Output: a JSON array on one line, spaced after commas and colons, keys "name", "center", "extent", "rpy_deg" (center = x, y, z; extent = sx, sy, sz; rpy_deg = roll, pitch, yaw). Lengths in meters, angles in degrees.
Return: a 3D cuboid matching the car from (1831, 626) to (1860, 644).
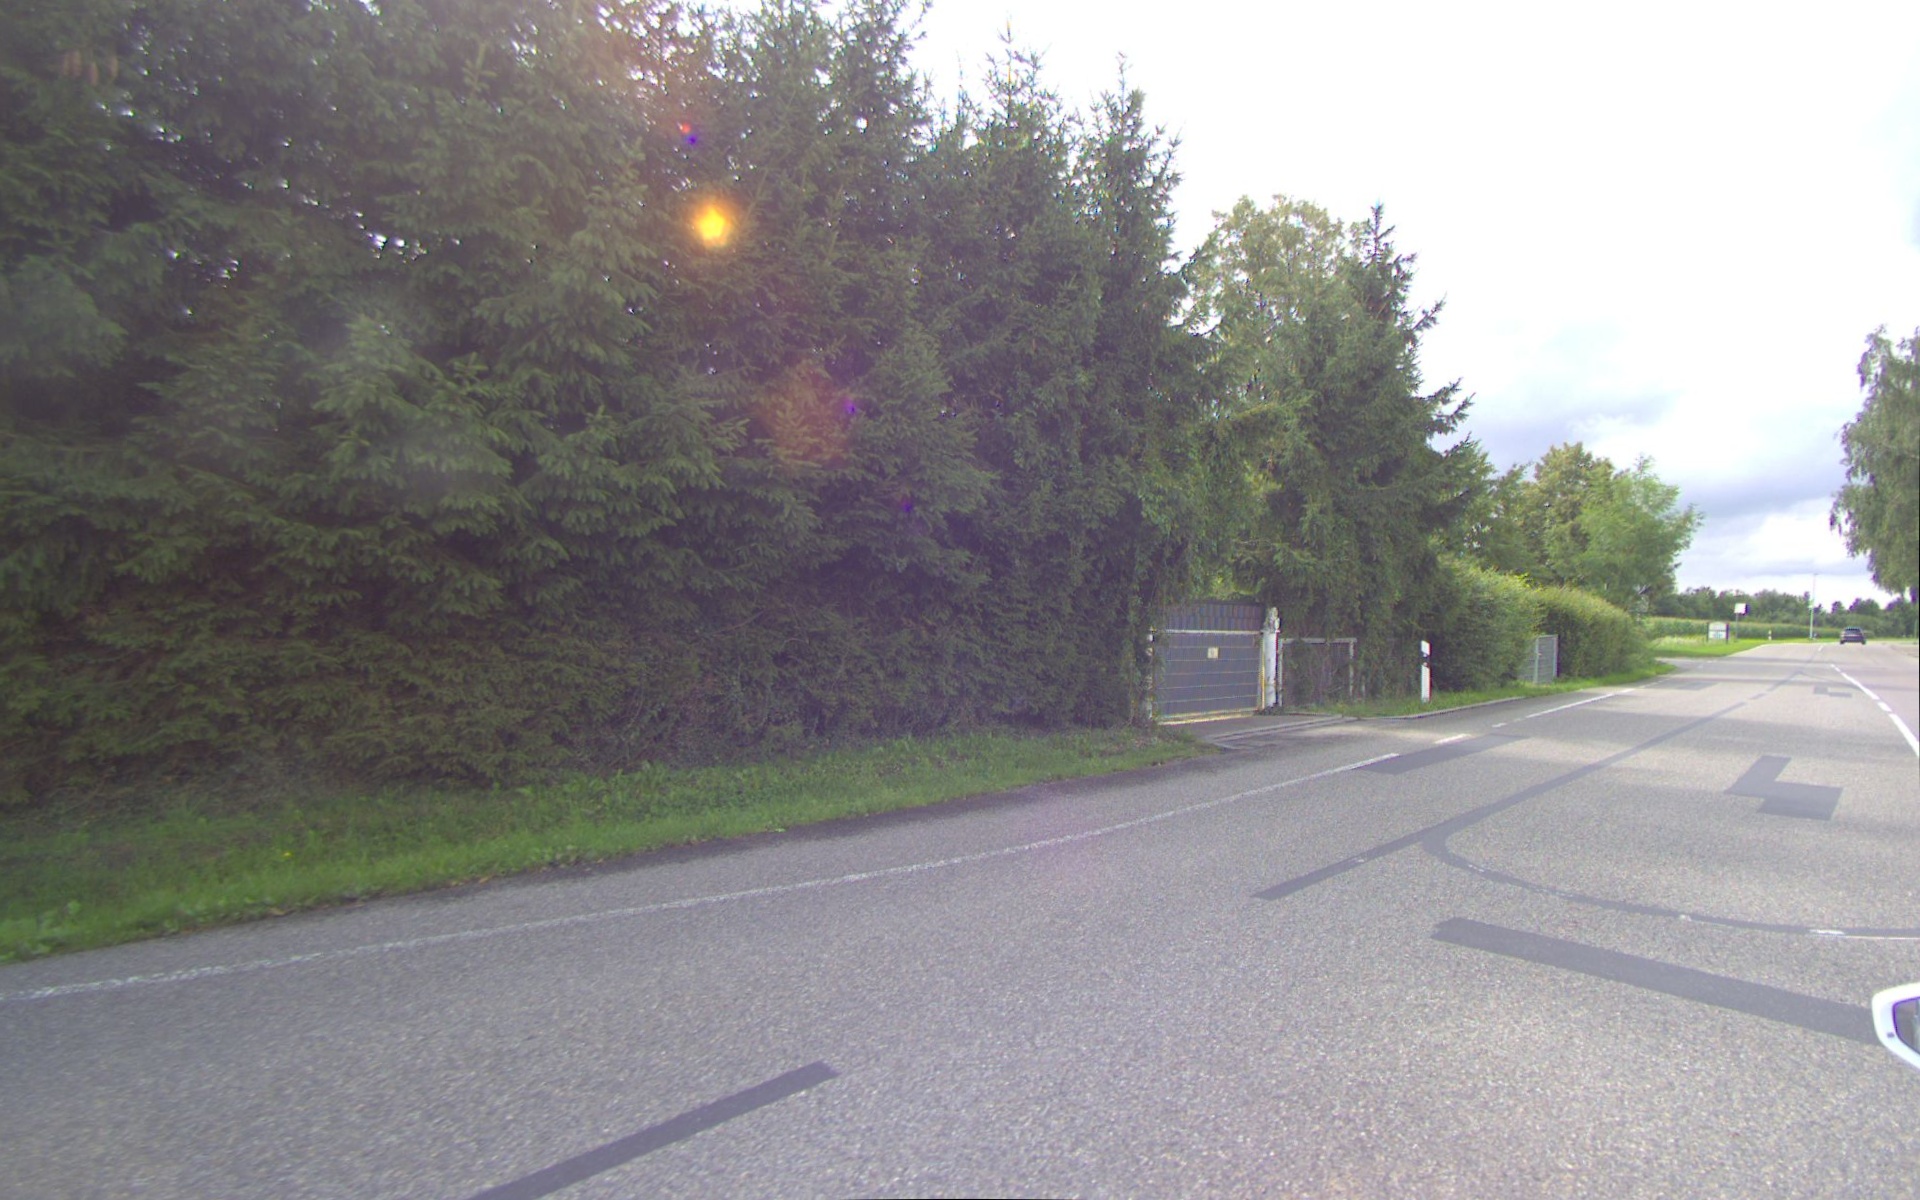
[{"name": "car", "center": [85.148, 3.385, 96.634], "extent": [1.970, 1.573, 3.980], "rpy_deg": [2, 1, 41]}]
